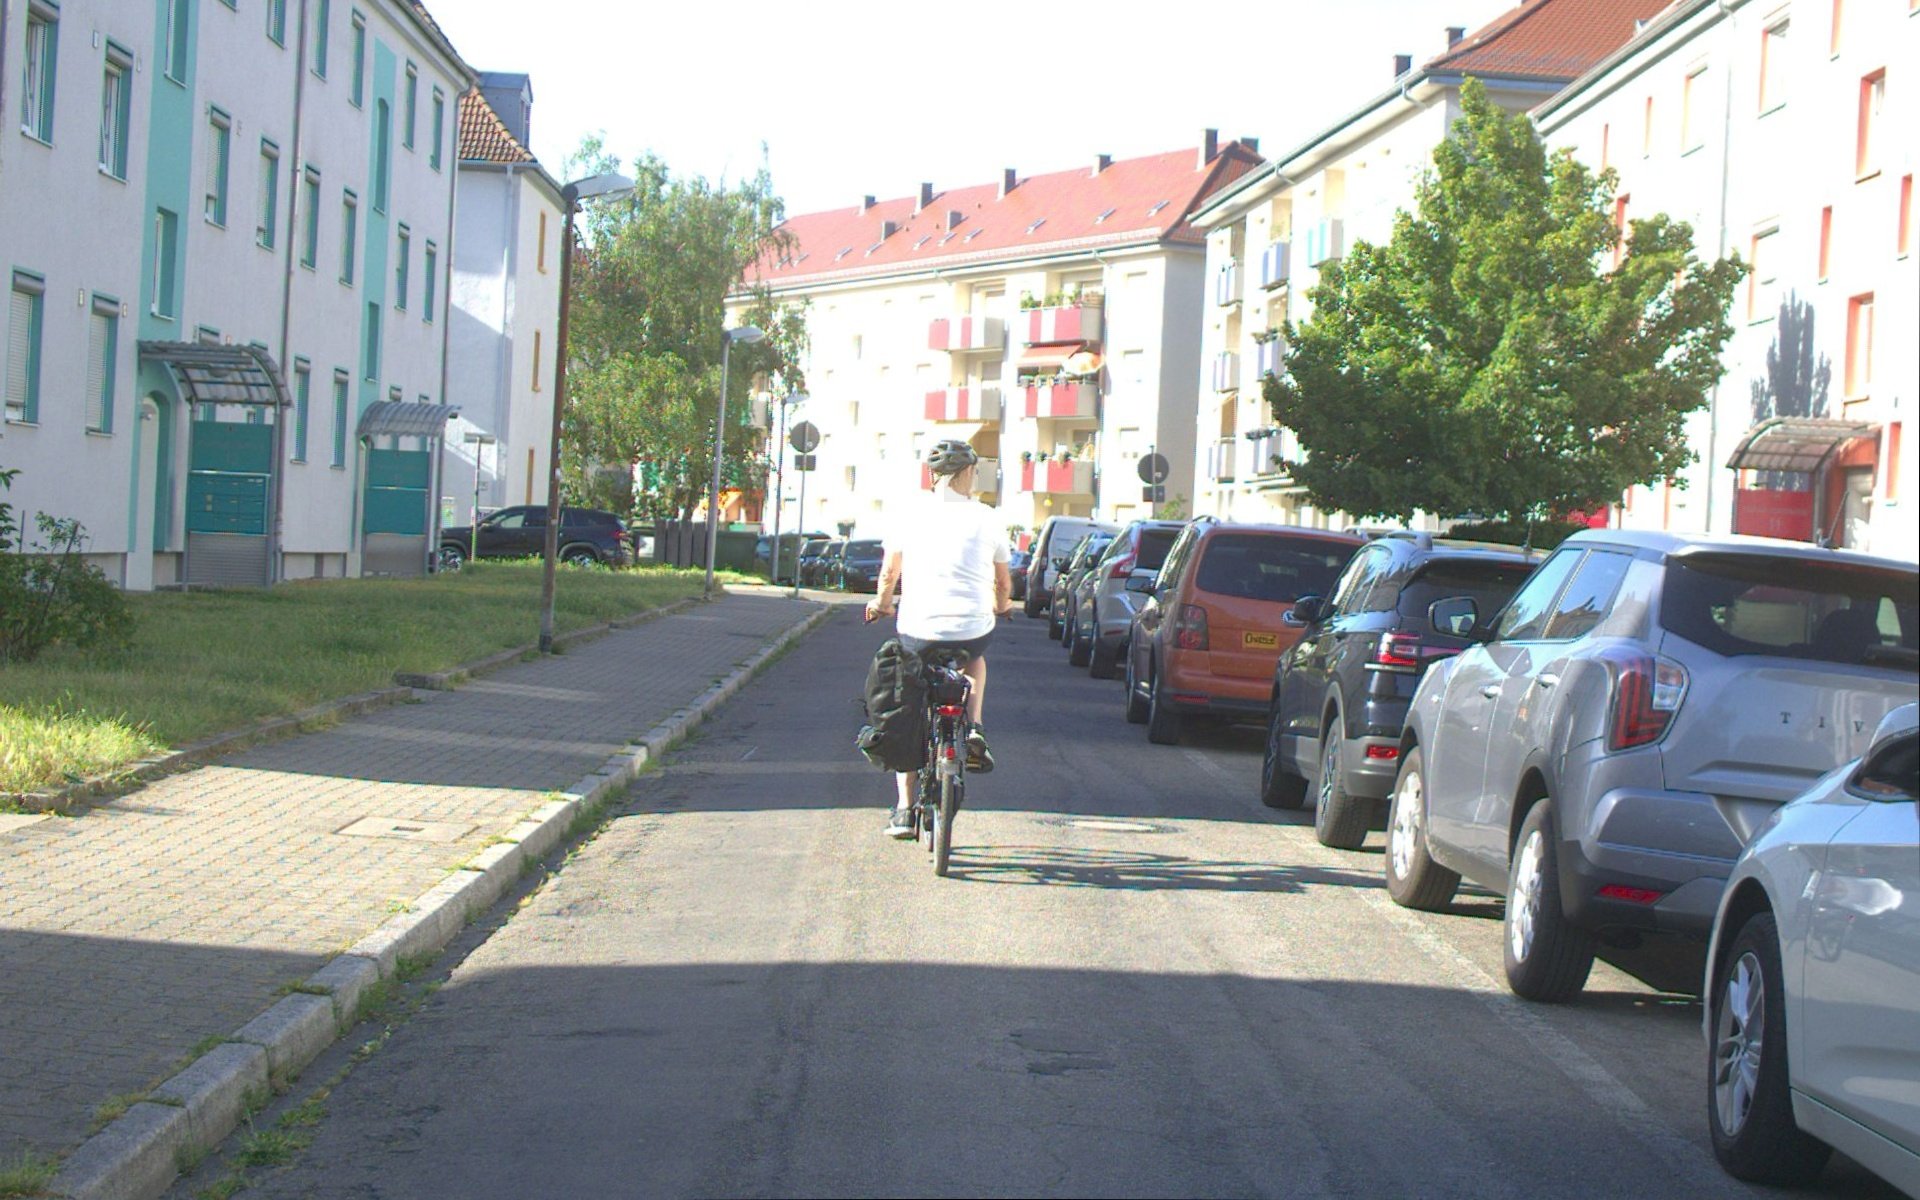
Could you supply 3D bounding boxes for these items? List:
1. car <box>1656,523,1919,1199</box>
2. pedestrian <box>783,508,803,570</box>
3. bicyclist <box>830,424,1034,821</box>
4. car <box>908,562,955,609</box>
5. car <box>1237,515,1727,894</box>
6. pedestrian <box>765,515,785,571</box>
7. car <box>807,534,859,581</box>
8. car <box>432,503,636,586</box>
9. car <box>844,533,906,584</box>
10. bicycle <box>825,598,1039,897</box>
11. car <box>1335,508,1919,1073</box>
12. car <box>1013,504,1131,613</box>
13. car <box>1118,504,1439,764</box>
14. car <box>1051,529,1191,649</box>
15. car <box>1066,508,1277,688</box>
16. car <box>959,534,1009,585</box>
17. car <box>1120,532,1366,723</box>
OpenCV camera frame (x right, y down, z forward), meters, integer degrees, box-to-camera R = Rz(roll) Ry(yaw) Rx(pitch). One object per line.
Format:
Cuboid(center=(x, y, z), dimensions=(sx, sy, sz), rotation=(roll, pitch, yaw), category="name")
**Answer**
Cuboid(center=(2.747, 0.701, 6.681), dimensions=(1.690, 1.569, 4.435), rotation=(3, 2, -2), category="car")
Cuboid(center=(-4.328, -1.577, 89.026), dimensions=(0.434, 1.569, 0.543), rotation=(3, 1, -1), category="pedestrian")
Cuboid(center=(-0.134, 0.083, 14.771), dimensions=(0.808, 1.638, 0.899), rotation=(1, 1, -3), category="bicyclist")
Cuboid(center=(-1.027, -0.533, 121.954), dimensions=(1.469, 1.511, 3.077), rotation=(3, 2, -3), category="car")
Cuboid(center=(2.578, 0.430, 18.013), dimensions=(1.712, 1.590, 4.398), rotation=(5, 2, -1), category="car")
Cuboid(center=(-4.793, -1.478, 89.024), dimensions=(0.434, 1.422, 0.543), rotation=(3, 1, -1), category="pedestrian")
Cuboid(center=(-3.846, -1.286, 103.841), dimensions=(1.469, 1.331, 3.141), rotation=(-1, 2, -3), category="car")
Cuboid(center=(-9.149, -1.207, 74.044), dimensions=(4.231, 1.632, 1.583), rotation=(2, 2, -4), category="car")
Cuboid(center=(-2.316, -1.133, 92.801), dimensions=(1.469, 1.331, 3.141), rotation=(-1, 1, -5), category="car")
Cuboid(center=(-0.152, 0.588, 14.765), dimensions=(0.808, 1.124, 2.102), rotation=(1, 1, -3), category="bicycle")
Cuboid(center=(2.648, 0.543, 12.618), dimensions=(1.750, 1.612, 4.453), rotation=(4, 2, -3), category="car")
Cuboid(center=(1.914, -0.752, 59.979), dimensions=(1.674, 1.732, 3.943), rotation=(3, 2, -3), category="car")
Cuboid(center=(2.280, 0.187, 25.673), dimensions=(1.862, 1.662, 4.127), rotation=(4, 1, -1), category="car")
Cuboid(center=(2.087, -0.180, 45.514), dimensions=(1.559, 1.406, 3.934), rotation=(3, 2, -1), category="car")
Cuboid(center=(2.164, -0.081, 36.258), dimensions=(1.700, 1.665, 4.380), rotation=(4, 2, -2), category="car")
Cuboid(center=(0.749, -1.307, 109.136), dimensions=(1.381, 1.491, 3.077), rotation=(3, 2, -3), category="car")
Cuboid(center=(2.492, 0.196, 31.133), dimensions=(1.617, 1.455, 3.842), rotation=(5, 1, -3), category="car")
